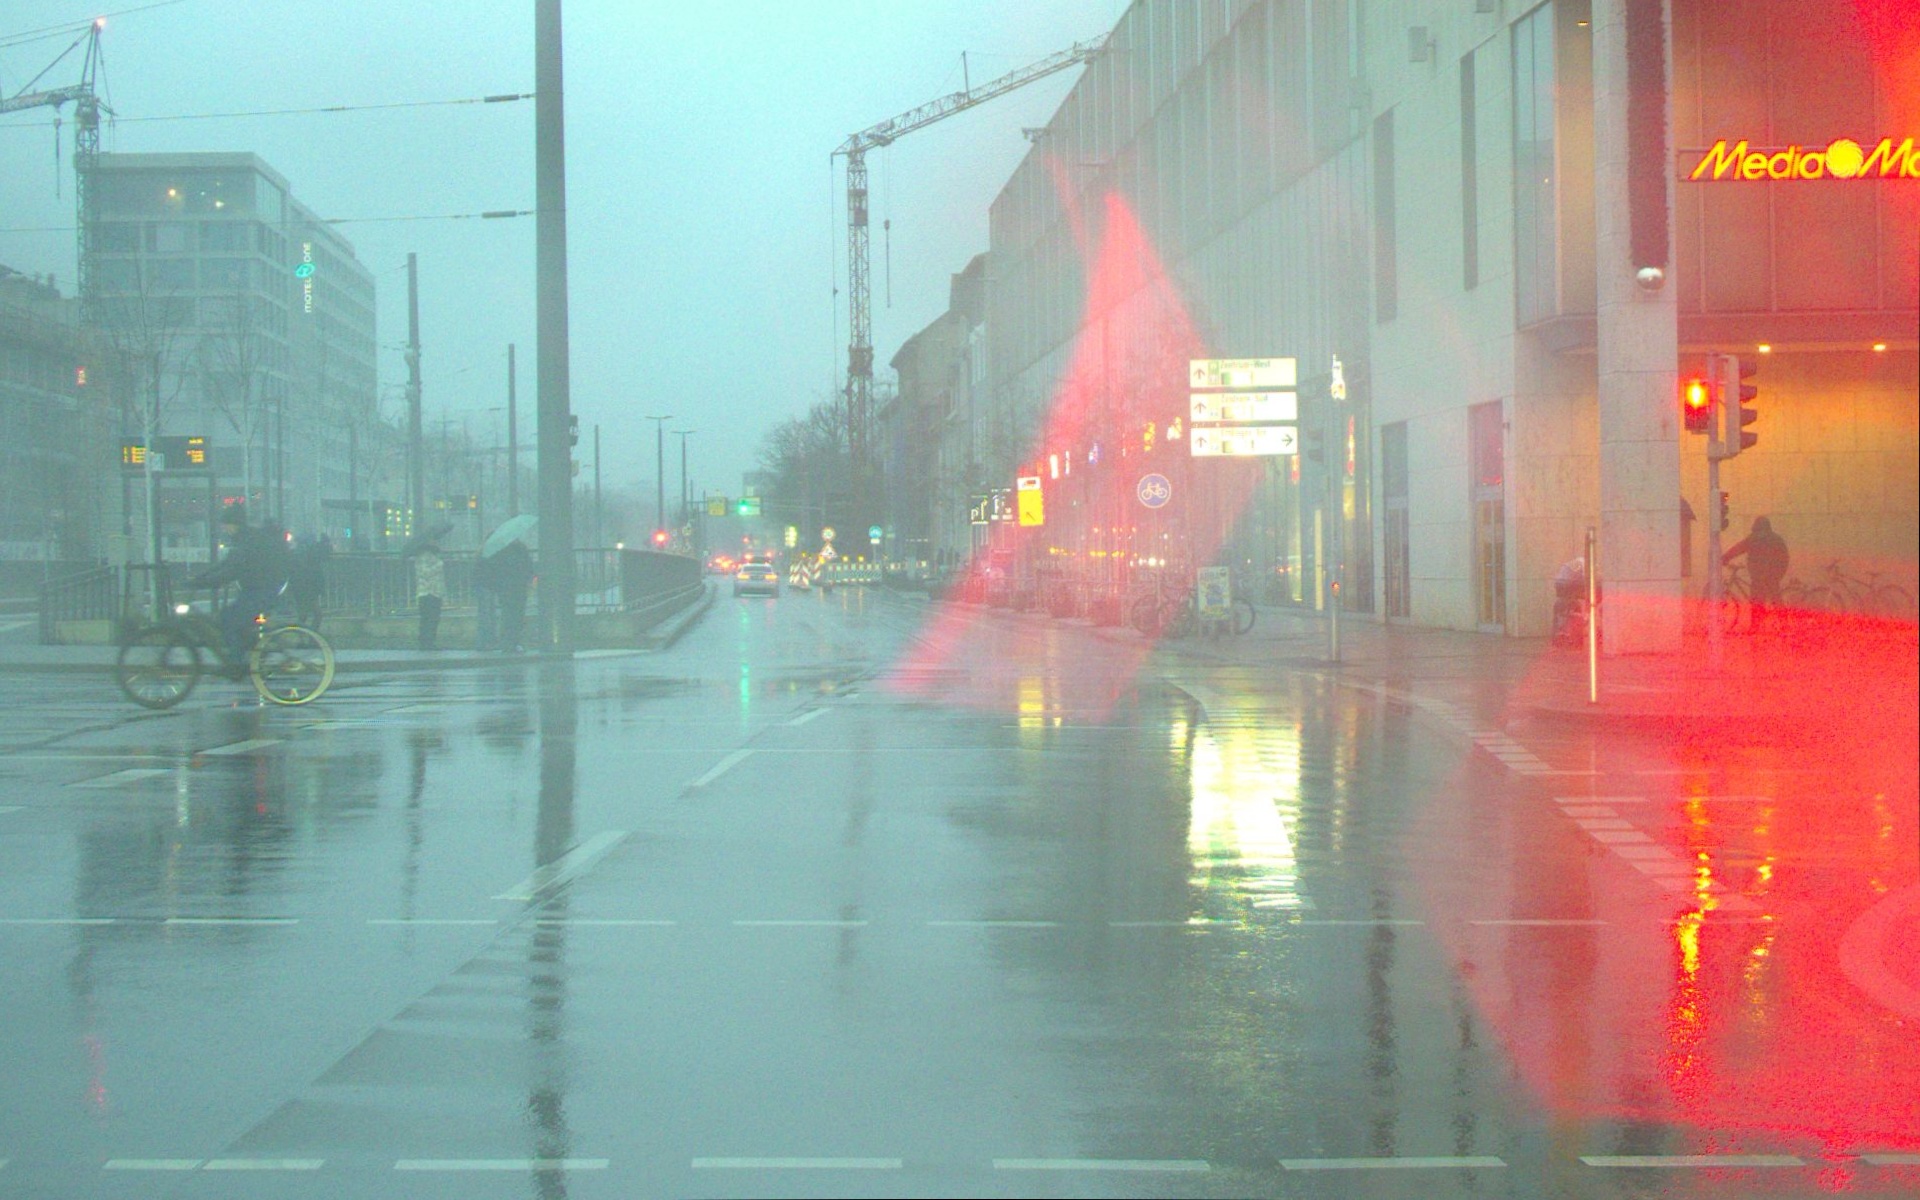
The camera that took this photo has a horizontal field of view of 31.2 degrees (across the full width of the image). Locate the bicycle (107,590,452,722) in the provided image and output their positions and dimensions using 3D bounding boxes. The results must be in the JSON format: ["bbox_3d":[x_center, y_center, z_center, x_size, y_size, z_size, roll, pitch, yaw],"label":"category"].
[{"bbox_3d":[-5.870,0.485,29.658,2.855,1.095,0.745,1,0,-16],"label":"bicycle"}]

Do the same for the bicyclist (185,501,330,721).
[{"bbox_3d":[-6.051,0.093,29.598,1.156,1.865,0.745,1,0,-16],"label":"bicyclist"}]

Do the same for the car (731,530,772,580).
[{"bbox_3d":[-8.572,-1.869,141.489,1.577,2.007,3.172,-1,1,-3],"label":"car"}]

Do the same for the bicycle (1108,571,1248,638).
[{"bbox_3d":[3.895,0.076,61.571,2.442,1.150,0.674,-1,0,-1],"label":"bicycle"}]

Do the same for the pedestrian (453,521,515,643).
[{"bbox_3d":[-6.647,-0.252,47.998,0.612,1.680,0.577,1,1,42],"label":"pedestrian"}]

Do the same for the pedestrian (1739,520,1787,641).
[{"bbox_3d":[11.622,-0.284,49.777,0.600,1.739,0.524,1,0,8],"label":"pedestrian"}]

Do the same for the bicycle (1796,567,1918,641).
[{"bbox_3d":[13.263,0.063,50.824,1.646,1.066,0.525,1,0,-4],"label":"bicycle"}]

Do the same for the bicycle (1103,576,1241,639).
[{"bbox_3d":[3.846,0.125,62.470,2.425,1.095,0.712,-1,0,-2],"label":"bicycle"}]

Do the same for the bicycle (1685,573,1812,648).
[{"bbox_3d":[11.542,0.146,50.353,1.768,1.066,0.524,1,0,8],"label":"bicycle"}]

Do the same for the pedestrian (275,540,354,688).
[{"bbox_3d":[-8.905,0.189,47.418,0.785,2.007,0.726,1,1,42],"label":"pedestrian"}]

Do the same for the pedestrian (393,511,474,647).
[{"bbox_3d":[-7.129,-0.281,46.522,0.821,1.825,0.786,1,0,-31],"label":"pedestrian"}]
